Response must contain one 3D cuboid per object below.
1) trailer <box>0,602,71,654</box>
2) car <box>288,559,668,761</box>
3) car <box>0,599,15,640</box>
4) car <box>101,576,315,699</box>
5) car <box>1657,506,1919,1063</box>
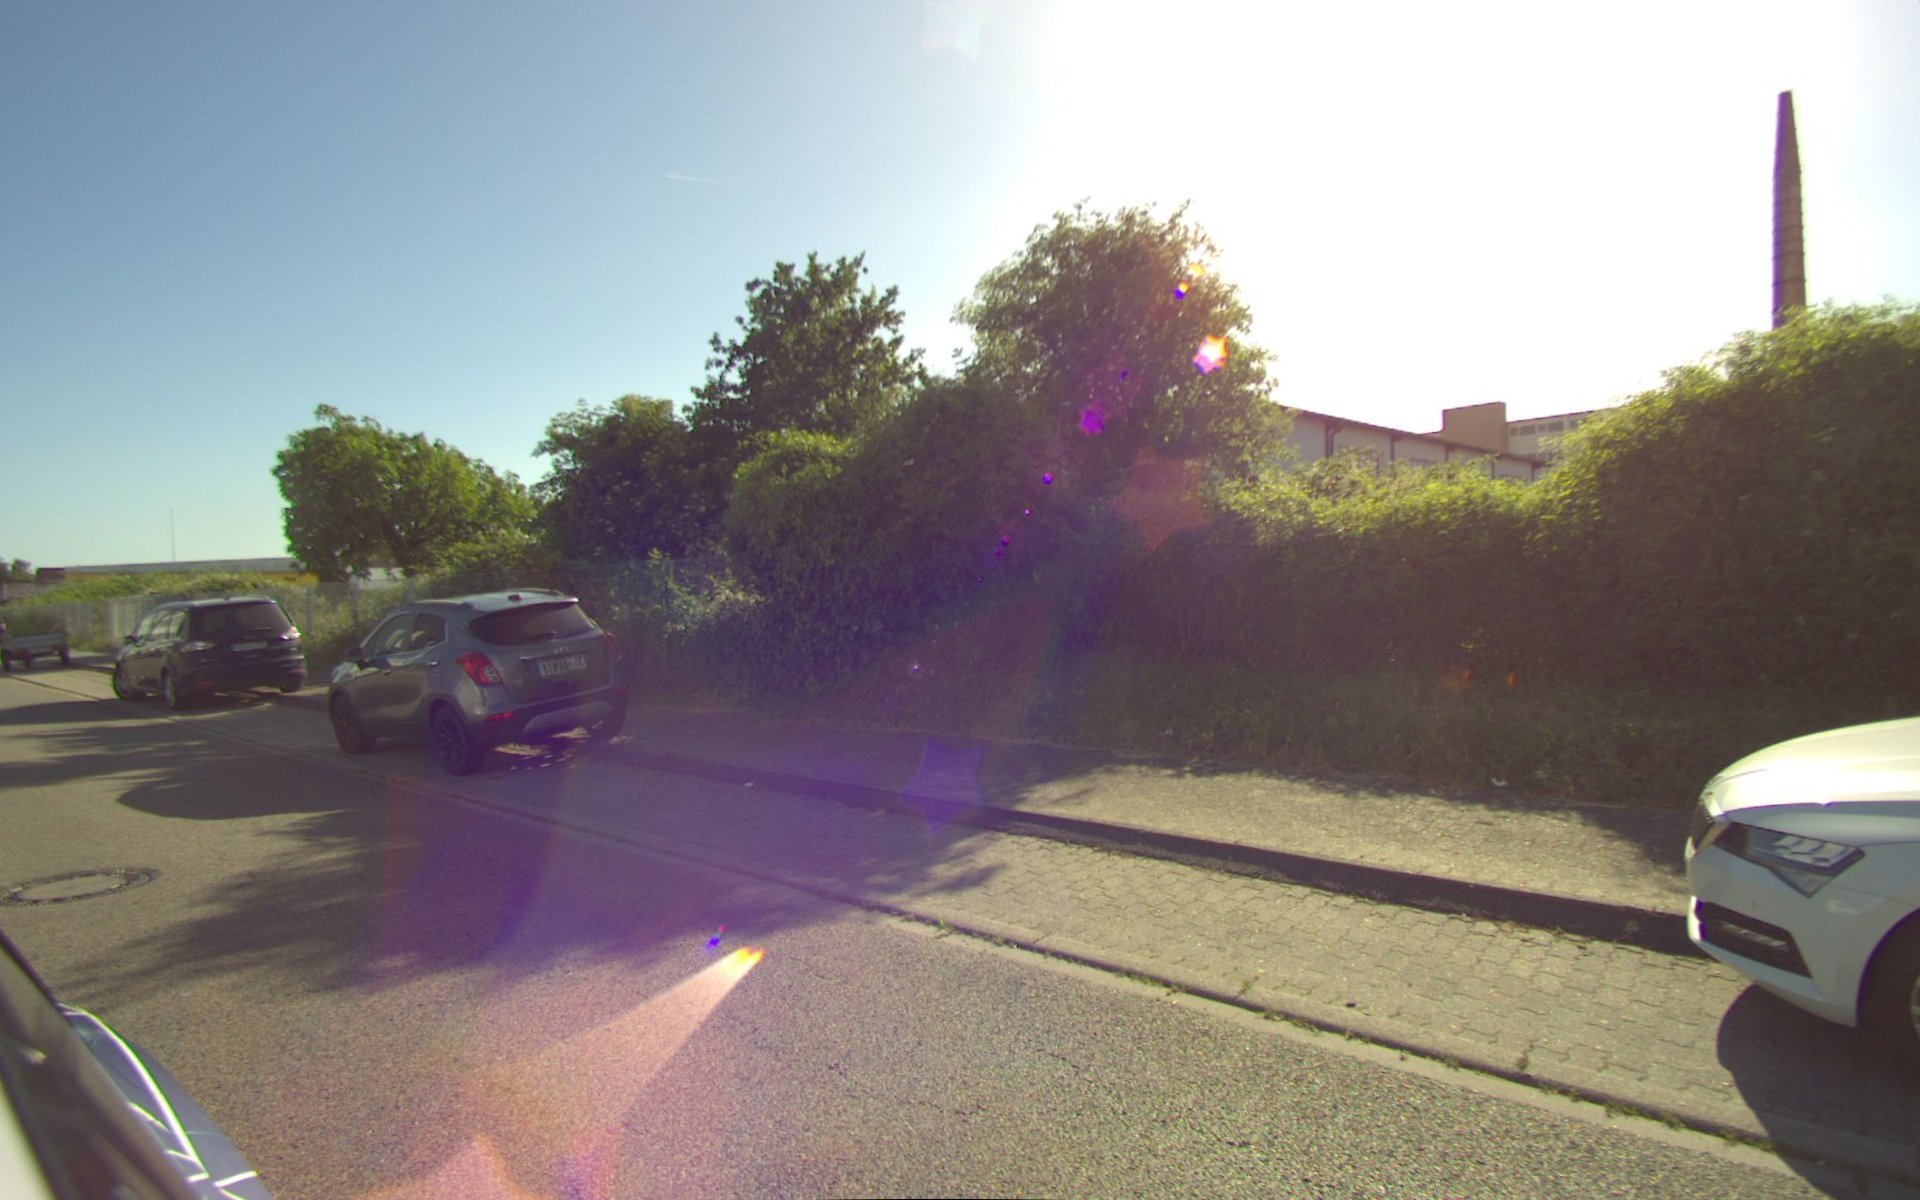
[{"bbox_3d":[-27.378,0.795,29.719,3.077,1.364,1.461,0,2,41],"label":"trailer"},{"bbox_3d":[-5.375,0.527,11.047,4.458,1.674,1.890,-1,5,39],"label":"car"},{"bbox_3d":[-43.030,0.920,44.057,5.102,1.706,2.011,-1,4,40],"label":"car"},{"bbox_3d":[-13.142,0.587,17.565,4.798,1.743,1.774,-1,4,40],"label":"car"},{"bbox_3d":[4.837,0.480,2.417,5.023,1.604,1.889,-1,5,42],"label":"car"}]
